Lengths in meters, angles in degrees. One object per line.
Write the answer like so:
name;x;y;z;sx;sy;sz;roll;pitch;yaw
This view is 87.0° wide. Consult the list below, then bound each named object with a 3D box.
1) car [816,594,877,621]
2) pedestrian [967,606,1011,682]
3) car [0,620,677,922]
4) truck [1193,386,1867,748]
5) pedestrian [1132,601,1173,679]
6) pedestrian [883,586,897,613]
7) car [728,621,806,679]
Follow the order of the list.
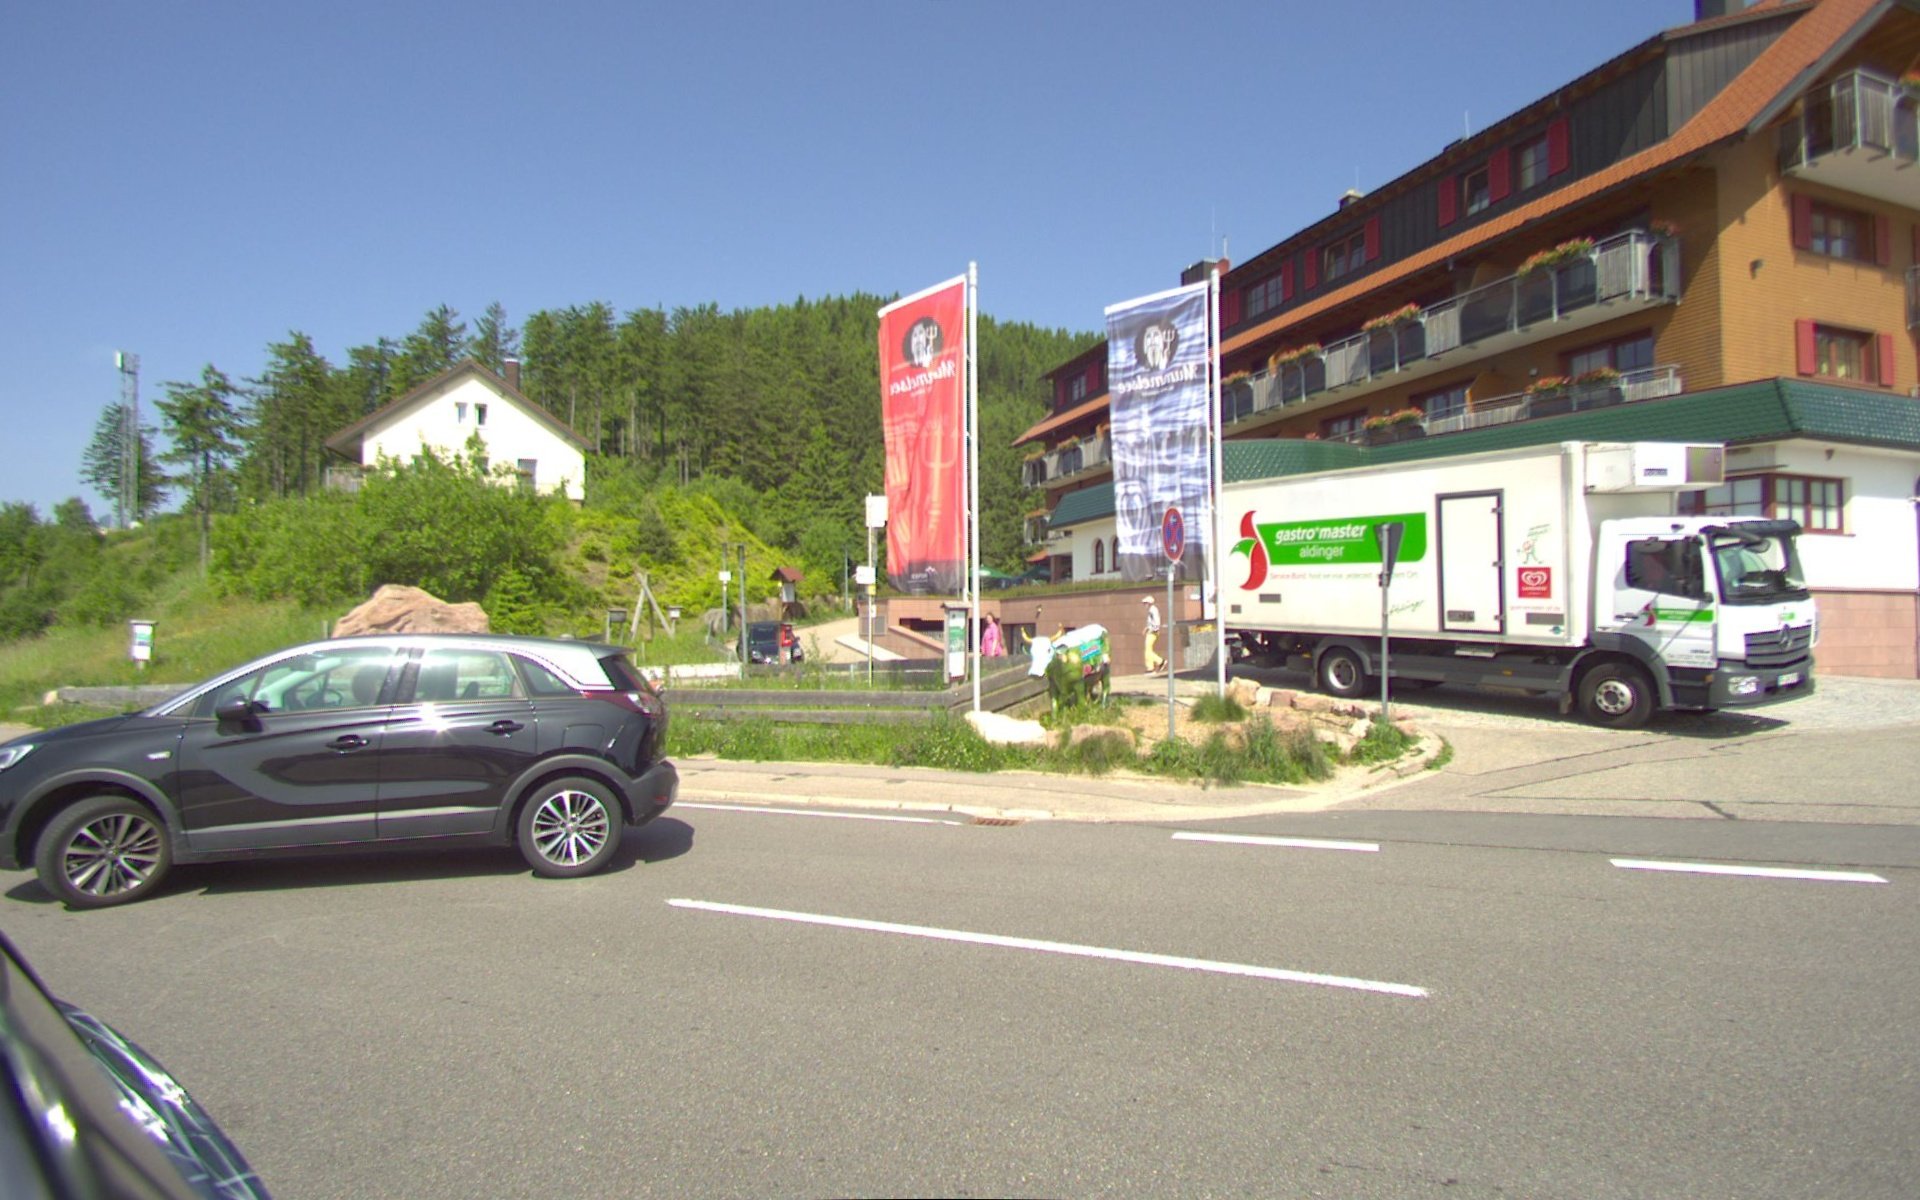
car;-6.400;0.454;56.988;1.524;1.326;3.858;2;-3;-40
pedestrian;0.675;1.026;23.638;0.687;1.729;0.800;1;-3;-31
car;-4.058;0.981;6.883;4.079;1.629;1.992;0;-2;-14
truck;7.861;-0.422;15.762;3.018;4.002;8.799;-2;1;-30
pedestrian;4.253;0.885;22.406;0.565;1.702;0.655;1;-3;-31
pedestrian;-4.138;-0.024;60.146;0.564;1.553;0.634;-6;4;-19
car;-5.871;1.438;30.401;1.848;1.364;4.013;1;2;-17
